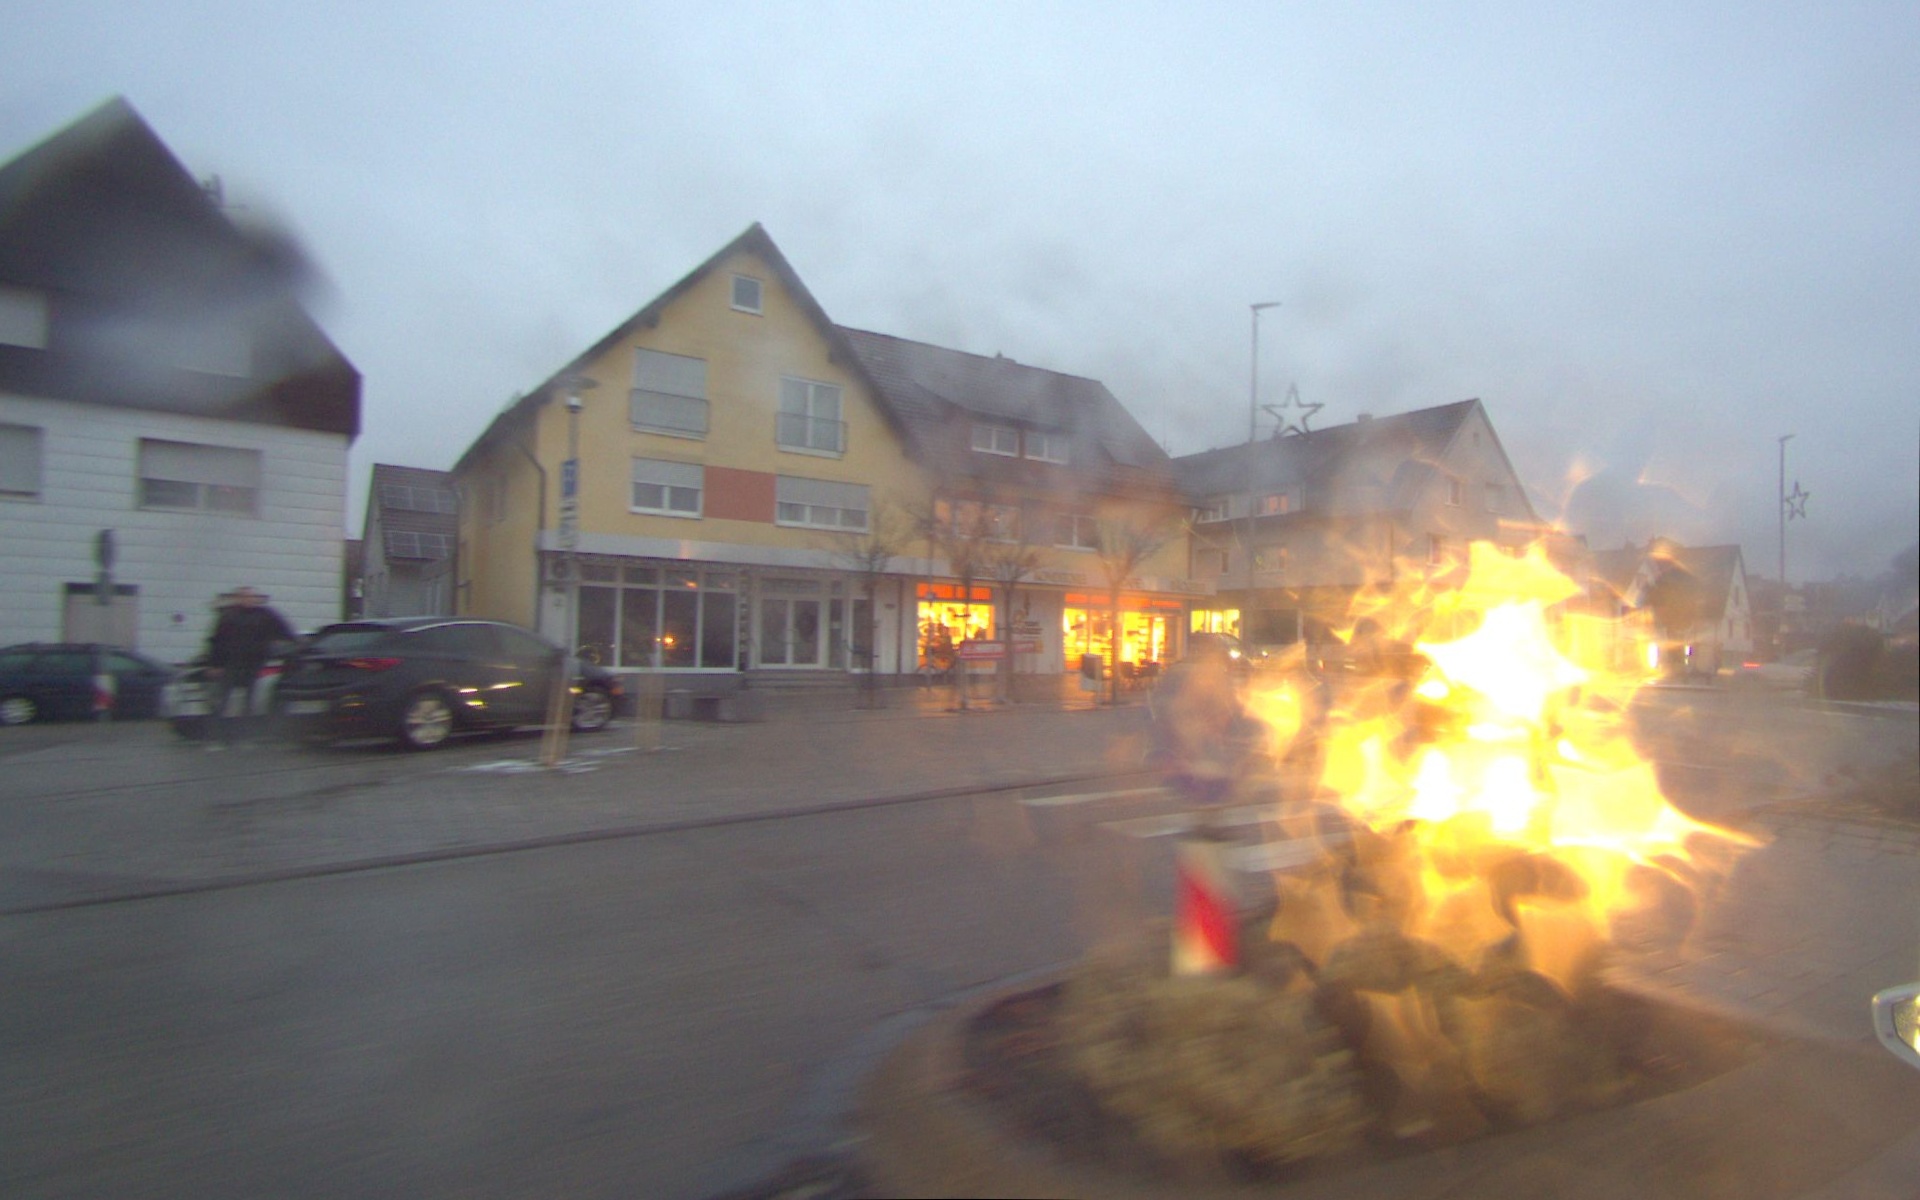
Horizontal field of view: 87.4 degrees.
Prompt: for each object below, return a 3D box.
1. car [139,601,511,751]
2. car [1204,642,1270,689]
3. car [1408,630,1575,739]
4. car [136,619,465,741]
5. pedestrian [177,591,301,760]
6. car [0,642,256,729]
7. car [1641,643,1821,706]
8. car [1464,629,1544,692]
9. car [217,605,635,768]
[{"bbox_3d":[-8.252,0.975,13.484,1.805,1.692,3.896,-3,-3,23],"label":"car"},{"bbox_3d":[11.148,2.592,40.710,1.914,1.614,4.635,1,0,7],"label":"car"},{"bbox_3d":[8.050,1.197,15.097,1.487,1.430,3.349,-1,-3,41],"label":"car"},{"bbox_3d":[-10.132,1.199,15.784,1.733,1.652,3.995,-3,-4,27],"label":"car"},{"bbox_3d":[-7.802,0.805,10.888,0.711,1.734,0.840,-2,-3,27],"label":"pedestrian"},{"bbox_3d":[-16.602,1.609,19.763,4.376,1.520,1.900,1,-2,-33],"label":"car"},{"bbox_3d":[23.093,2.182,30.215,1.687,1.684,4.028,2,-2,-36],"label":"car"},{"bbox_3d":[14.018,1.566,25.796,1.685,1.440,4.006,1,-4,30],"label":"car"},{"bbox_3d":[-5.986,0.920,11.922,1.876,1.551,4.181,0,-2,19],"label":"car"}]
